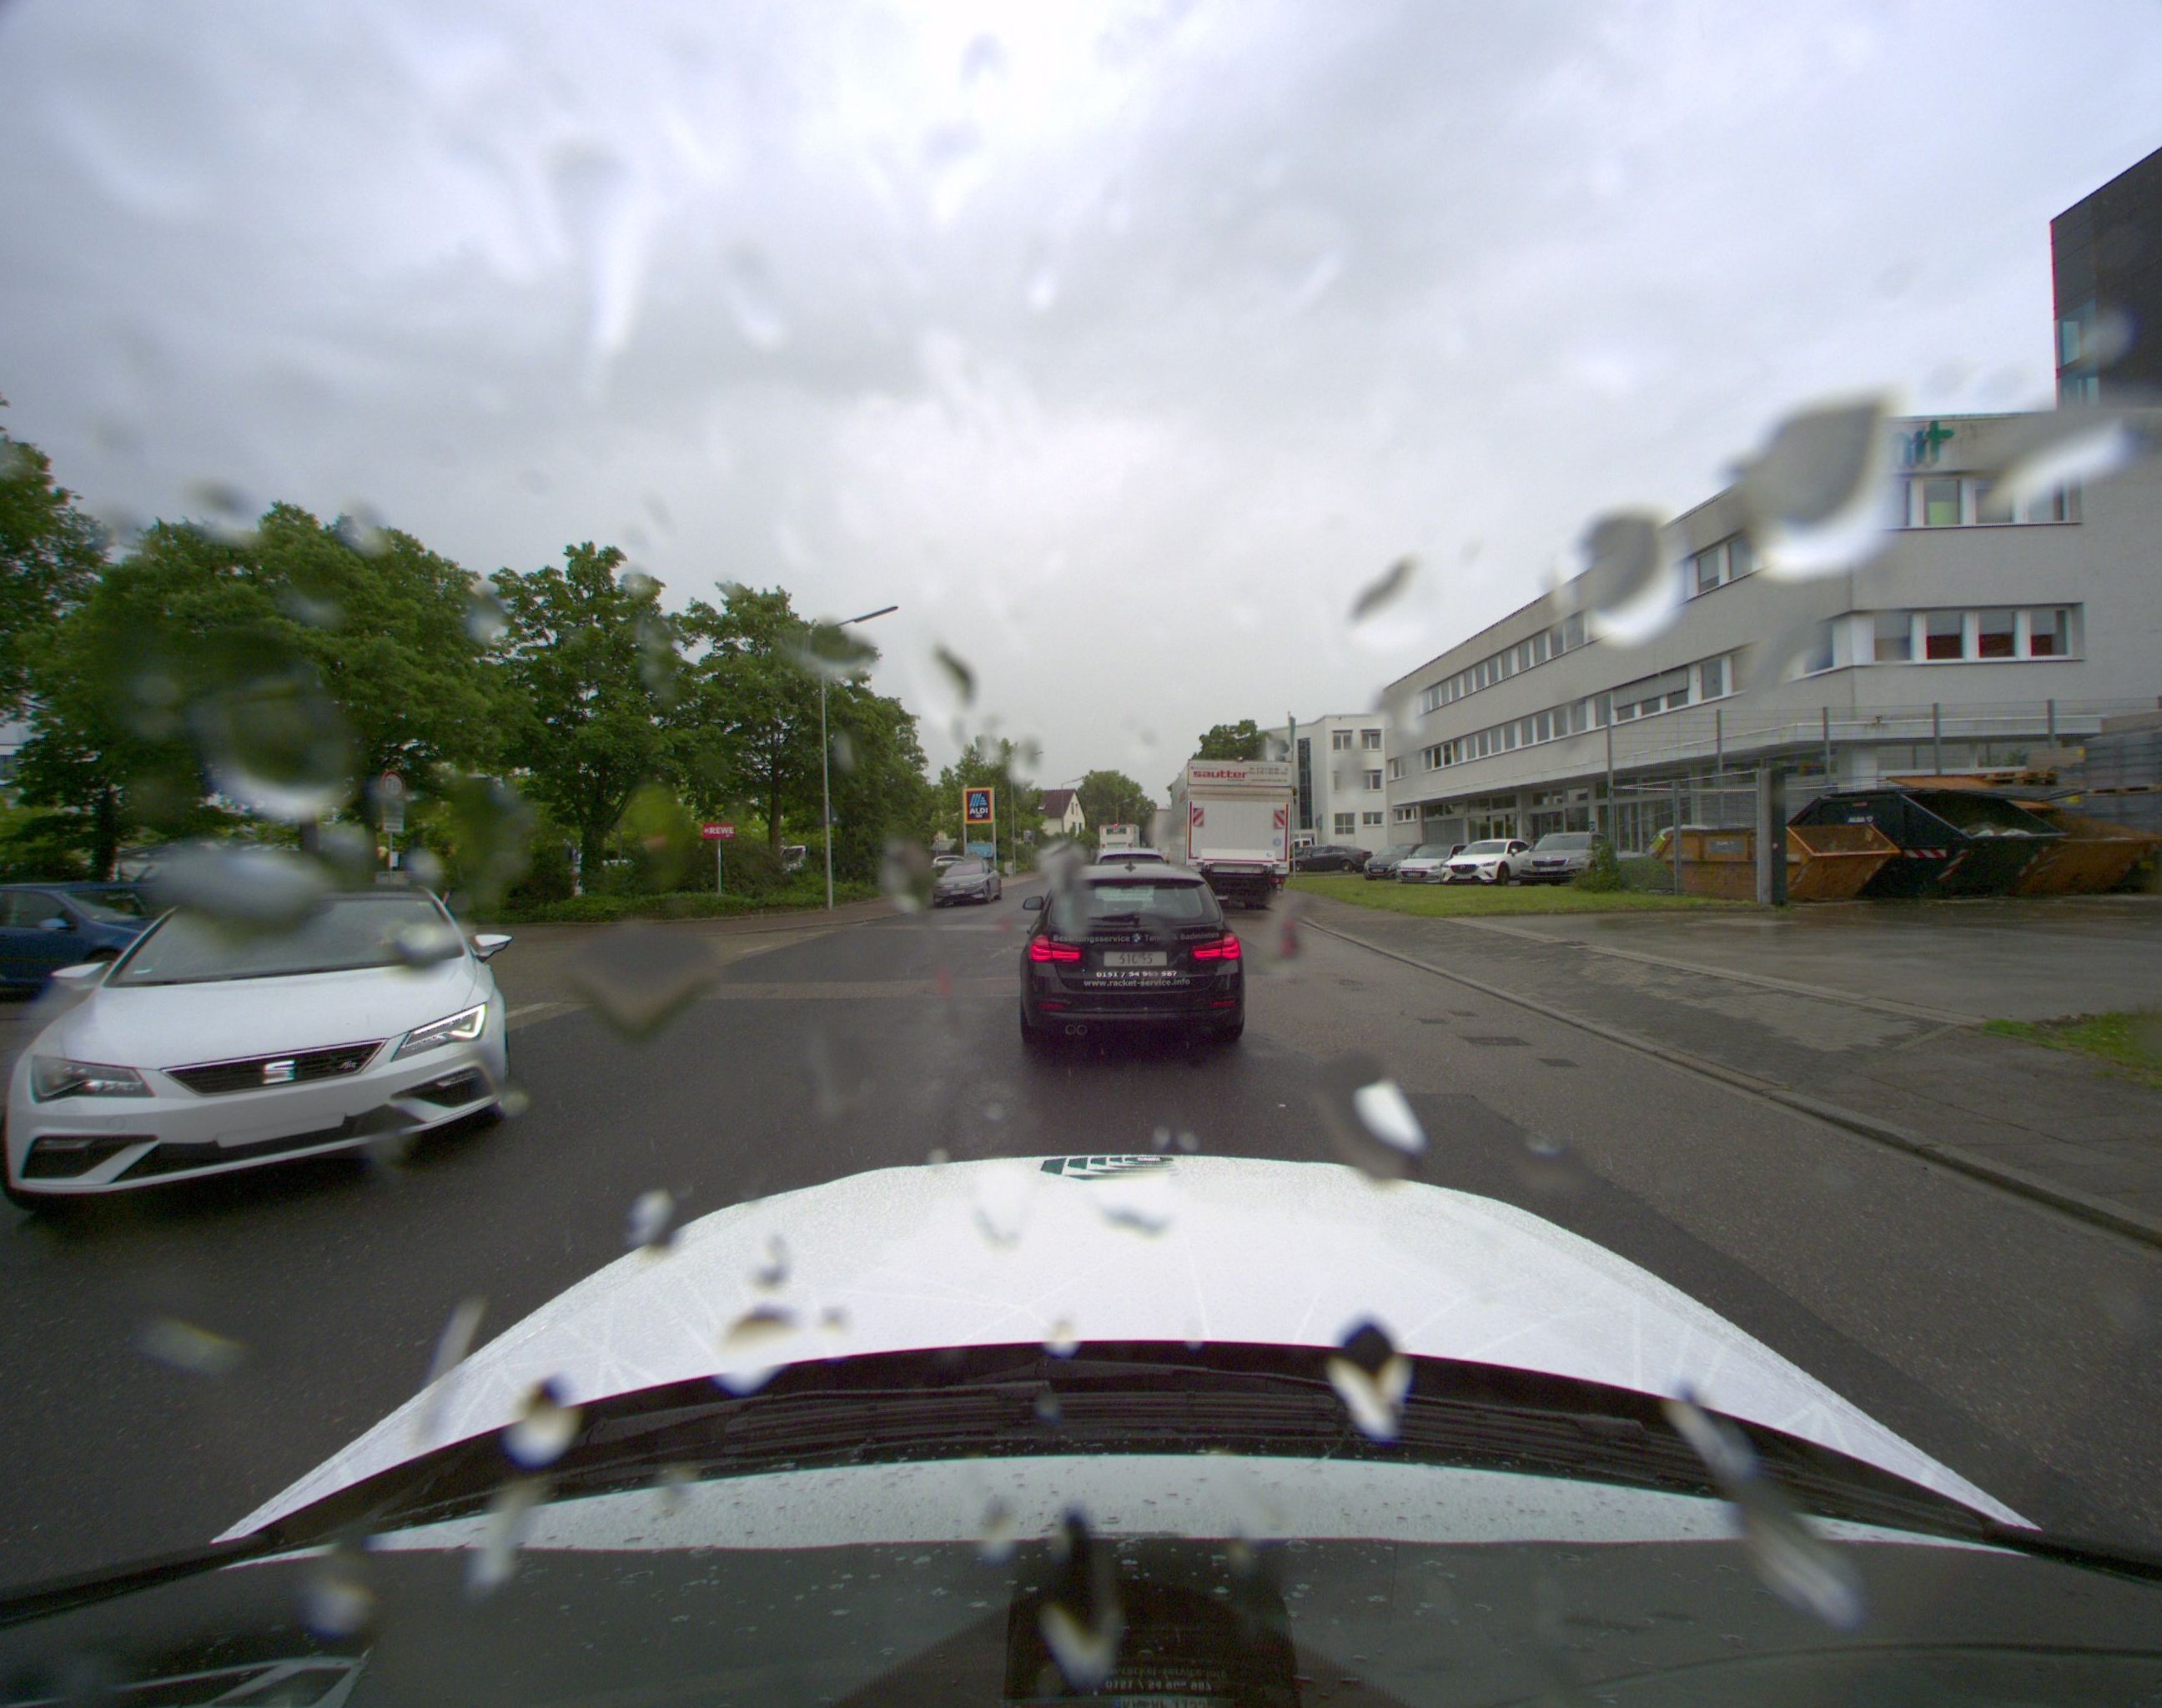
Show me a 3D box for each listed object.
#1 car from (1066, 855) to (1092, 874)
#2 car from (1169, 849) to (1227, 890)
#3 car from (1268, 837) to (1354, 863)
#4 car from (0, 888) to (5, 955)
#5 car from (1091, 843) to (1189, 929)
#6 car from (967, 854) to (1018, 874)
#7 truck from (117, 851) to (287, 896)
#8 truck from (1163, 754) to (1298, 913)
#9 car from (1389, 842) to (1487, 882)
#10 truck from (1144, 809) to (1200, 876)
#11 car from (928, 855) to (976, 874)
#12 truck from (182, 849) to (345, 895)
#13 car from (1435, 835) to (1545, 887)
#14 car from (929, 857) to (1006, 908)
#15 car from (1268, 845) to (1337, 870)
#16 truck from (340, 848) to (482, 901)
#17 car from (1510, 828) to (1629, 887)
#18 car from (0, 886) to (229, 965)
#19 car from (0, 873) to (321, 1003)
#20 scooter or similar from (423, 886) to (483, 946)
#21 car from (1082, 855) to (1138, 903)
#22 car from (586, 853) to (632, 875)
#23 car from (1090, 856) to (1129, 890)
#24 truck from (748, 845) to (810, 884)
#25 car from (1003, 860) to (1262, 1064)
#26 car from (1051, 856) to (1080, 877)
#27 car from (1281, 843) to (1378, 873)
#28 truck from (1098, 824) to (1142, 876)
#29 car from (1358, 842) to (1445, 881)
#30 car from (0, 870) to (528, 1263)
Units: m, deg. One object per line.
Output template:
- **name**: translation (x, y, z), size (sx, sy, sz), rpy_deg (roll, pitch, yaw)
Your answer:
- **car**: translation (-0.159, 0.858, 68.130), size (1.697, 1.367, 3.844), rpy_deg (-4, 0, 6)
- **car**: translation (4.609, 0.574, 32.590), size (1.790, 1.441, 4.347), rpy_deg (-2, 0, 2)
- **car**: translation (18.864, -0.287, 66.942), size (6.437, 2.014, 1.998), rpy_deg (-1, -1, -2)
- **car**: translation (-25.322, 1.550, 16.791), size (3.972, 1.441, 1.737), rpy_deg (-3, 0, 1)
- **car**: translation (1.124, 0.604, 17.180), size (1.798, 1.586, 4.000), rpy_deg (-1, 0, 1)
- **car**: translation (-6.539, 0.757, 60.382), size (3.554, 1.460, 1.714), rpy_deg (0, 0, 4)
- **truck**: translation (-44.775, 0.923, 41.777), size (1.987, 2.060, 6.134), rpy_deg (-2, 0, 0)
- **truck**: translation (4.070, -0.510, 24.303), size (2.730, 3.789, 9.306), rpy_deg (1, 0, 3)
- **car**: translation (12.755, 0.255, 29.014), size (4.022, 1.286, 1.686), rpy_deg (-2, 0, -43)
- **truck**: translation (5.215, -0.637, 48.025), size (2.730, 3.611, 7.754), rpy_deg (1, 0, 2)
- **car**: translation (-11.706, 0.946, 74.131), size (3.970, 1.540, 1.912), rpy_deg (-2, 0, 3)
- **truck**: translation (-41.186, 0.830, 41.340), size (1.987, 2.094, 6.134), rpy_deg (-2, 0, 0)
- **car**: translation (12.964, 0.200, 25.741), size (4.022, 1.470, 1.754), rpy_deg (-2, 0, -42)
- **car**: translation (-3.951, 0.943, 29.071), size (1.802, 1.528, 4.750), rpy_deg (-5, 0, 2)
- **car**: translation (13.656, 0.208, 50.363), size (3.733, 1.396, 1.738), rpy_deg (2, 3, 42)
- **truck**: translation (-35.980, 1.013, 44.047), size (1.984, 2.601, 6.403), rpy_deg (-2, 0, 4)
- **car**: translation (14.127, 0.074, 23.471), size (4.022, 1.527, 1.850), rpy_deg (-2, 0, -43)
- **car**: translation (-20.587, 1.467, 16.887), size (3.972, 1.363, 1.737), rpy_deg (-3, 0, 1)
- **car**: translation (-12.899, 1.082, 10.804), size (3.972, 1.441, 1.737), rpy_deg (-3, 0, 1)
- **scooter or similar**: translation (-13.173, 1.280, 17.099), size (0.282, 1.175, 1.063), rpy_deg (-2, 0, 10)
- **car**: translation (0.986, 0.825, 28.532), size (1.798, 1.552, 4.000), rpy_deg (-1, 0, 1)
- **car**: translation (-45.662, 0.978, 78.906), size (1.985, 2.014, 4.003), rpy_deg (-1, -1, 3)
- **car**: translation (1.361, 0.917, 39.949), size (1.798, 1.552, 4.000), rpy_deg (-1, 0, 1)
- **truck**: translation (-22.496, 0.742, 60.966), size (1.986, 2.753, 6.469), rpy_deg (-2, 0, 1)
- **car**: translation (0.389, 0.772, 7.705), size (1.798, 1.395, 4.000), rpy_deg (-1, 0, 1)
- **car**: translation (-1.136, 0.902, 62.072), size (1.698, 1.367, 4.607), rpy_deg (-4, 0, 4)
- **car**: translation (13.306, 0.204, 43.781), size (4.616, 1.468, 1.802), rpy_deg (-2, 0, 40)
- **truck**: translation (2.759, -0.404, 55.274), size (2.329, 3.256, 7.768), rpy_deg (1, 2, 7)
- **car**: translation (12.645, 0.281, 32.032), size (3.789, 1.393, 1.686), rpy_deg (-2, 0, -42)
- **car**: translation (-4.785, 0.879, 5.241), size (1.745, 1.441, 3.954), rpy_deg (-3, 0, -38)
